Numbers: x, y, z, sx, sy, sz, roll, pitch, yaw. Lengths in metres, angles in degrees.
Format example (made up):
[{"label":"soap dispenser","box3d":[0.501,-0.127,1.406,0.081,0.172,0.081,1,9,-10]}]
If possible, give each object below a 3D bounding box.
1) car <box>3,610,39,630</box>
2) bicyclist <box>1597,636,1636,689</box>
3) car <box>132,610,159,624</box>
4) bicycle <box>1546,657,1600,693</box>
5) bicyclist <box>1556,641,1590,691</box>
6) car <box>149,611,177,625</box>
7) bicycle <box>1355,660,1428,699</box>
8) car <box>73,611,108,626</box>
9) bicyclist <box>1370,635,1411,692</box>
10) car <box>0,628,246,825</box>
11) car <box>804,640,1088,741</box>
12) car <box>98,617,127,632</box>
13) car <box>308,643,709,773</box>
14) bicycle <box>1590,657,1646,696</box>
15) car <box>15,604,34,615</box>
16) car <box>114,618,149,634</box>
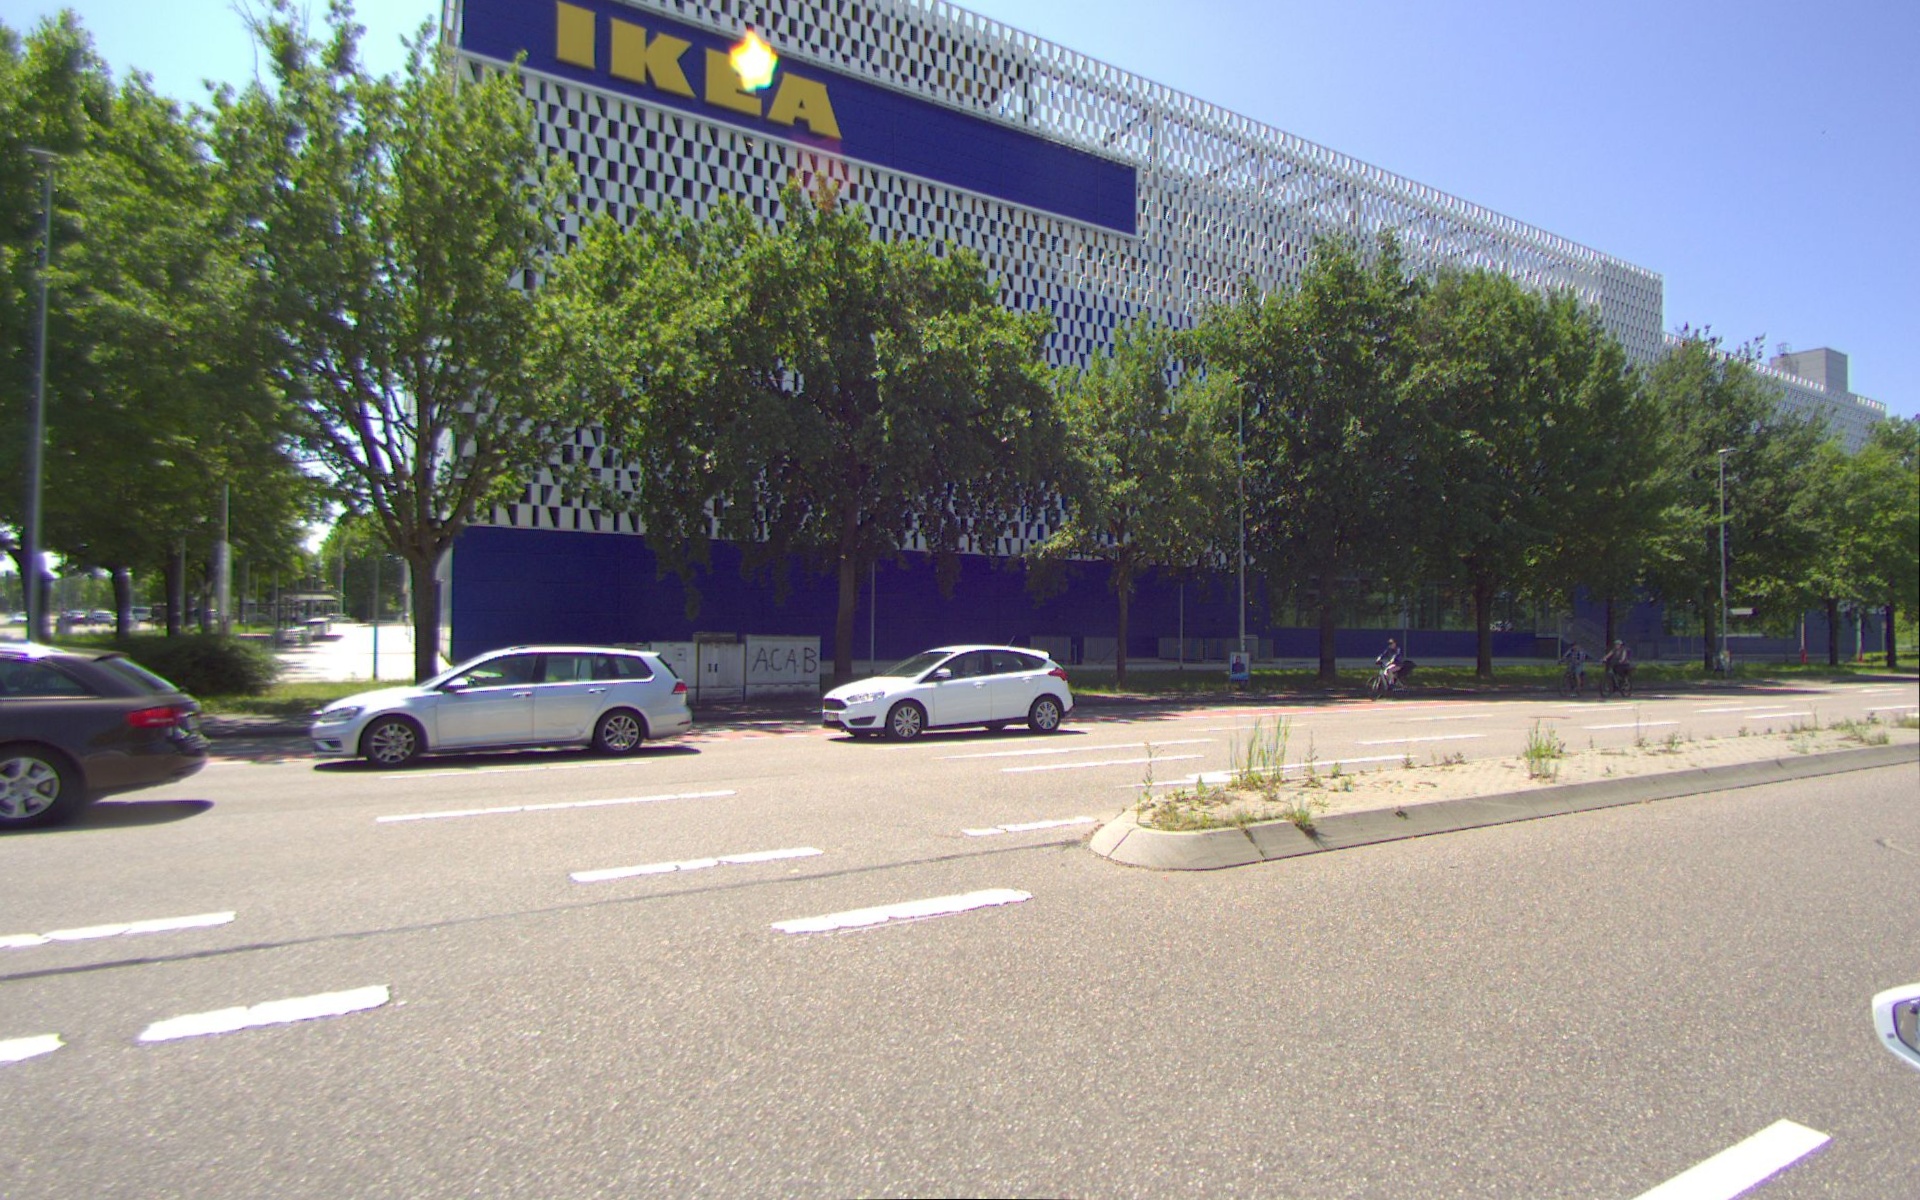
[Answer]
[{"label":"car","box3d":[-98.933,2.111,105.918,1.794,2.040,3.970,1,-2,-29]},{"label":"bicyclist","box3d":[20.832,1.977,31.872,1.033,1.650,0.630,2,-3,-32]},{"label":"car","box3d":[-102.584,2.184,126.529,1.830,1.647,3.771,2,-2,-28]},{"label":"bicycle","box3d":[20.354,2.488,33.333,1.946,1.148,0.635,2,-2,-29]},{"label":"bicyclist","box3d":[20.329,2.174,33.315,0.874,1.603,0.634,1,-2,-29]},{"label":"car","box3d":[-95.863,2.162,120.836,1.976,1.572,3.969,1,-2,-29]},{"label":"bicycle","box3d":[13.251,2.423,30.800,2.404,1.140,0.736,1,-2,-28]},{"label":"car","box3d":[-91.179,1.964,105.328,1.900,1.572,3.584,1,-2,-26]},{"label":"bicyclist","box3d":[13.179,1.919,30.780,0.940,1.708,0.742,1,-2,-28]},{"label":"car","box3d":[-8.449,0.949,7.684,4.664,1.464,1.719,2,-4,-30]},{"label":"car","box3d":[-0.168,1.432,16.450,4.402,1.464,1.718,2,-4,-32]},{"label":"car","box3d":[-94.491,2.709,111.984,1.624,1.572,3.398,1,-2,-26]},{"label":"car","box3d":[-5.807,1.305,13.223,4.571,1.441,1.737,1,-3,-32]},{"label":"bicycle","box3d":[20.885,2.420,31.879,2.093,1.174,0.626,2,-4,-32]},{"label":"car","box3d":[-127.989,1.352,137.424,1.684,1.441,3.495,-1,0,-41]},{"label":"car","box3d":[-87.509,2.740,106.142,1.975,1.572,3.971,1,-2,-28]}]
